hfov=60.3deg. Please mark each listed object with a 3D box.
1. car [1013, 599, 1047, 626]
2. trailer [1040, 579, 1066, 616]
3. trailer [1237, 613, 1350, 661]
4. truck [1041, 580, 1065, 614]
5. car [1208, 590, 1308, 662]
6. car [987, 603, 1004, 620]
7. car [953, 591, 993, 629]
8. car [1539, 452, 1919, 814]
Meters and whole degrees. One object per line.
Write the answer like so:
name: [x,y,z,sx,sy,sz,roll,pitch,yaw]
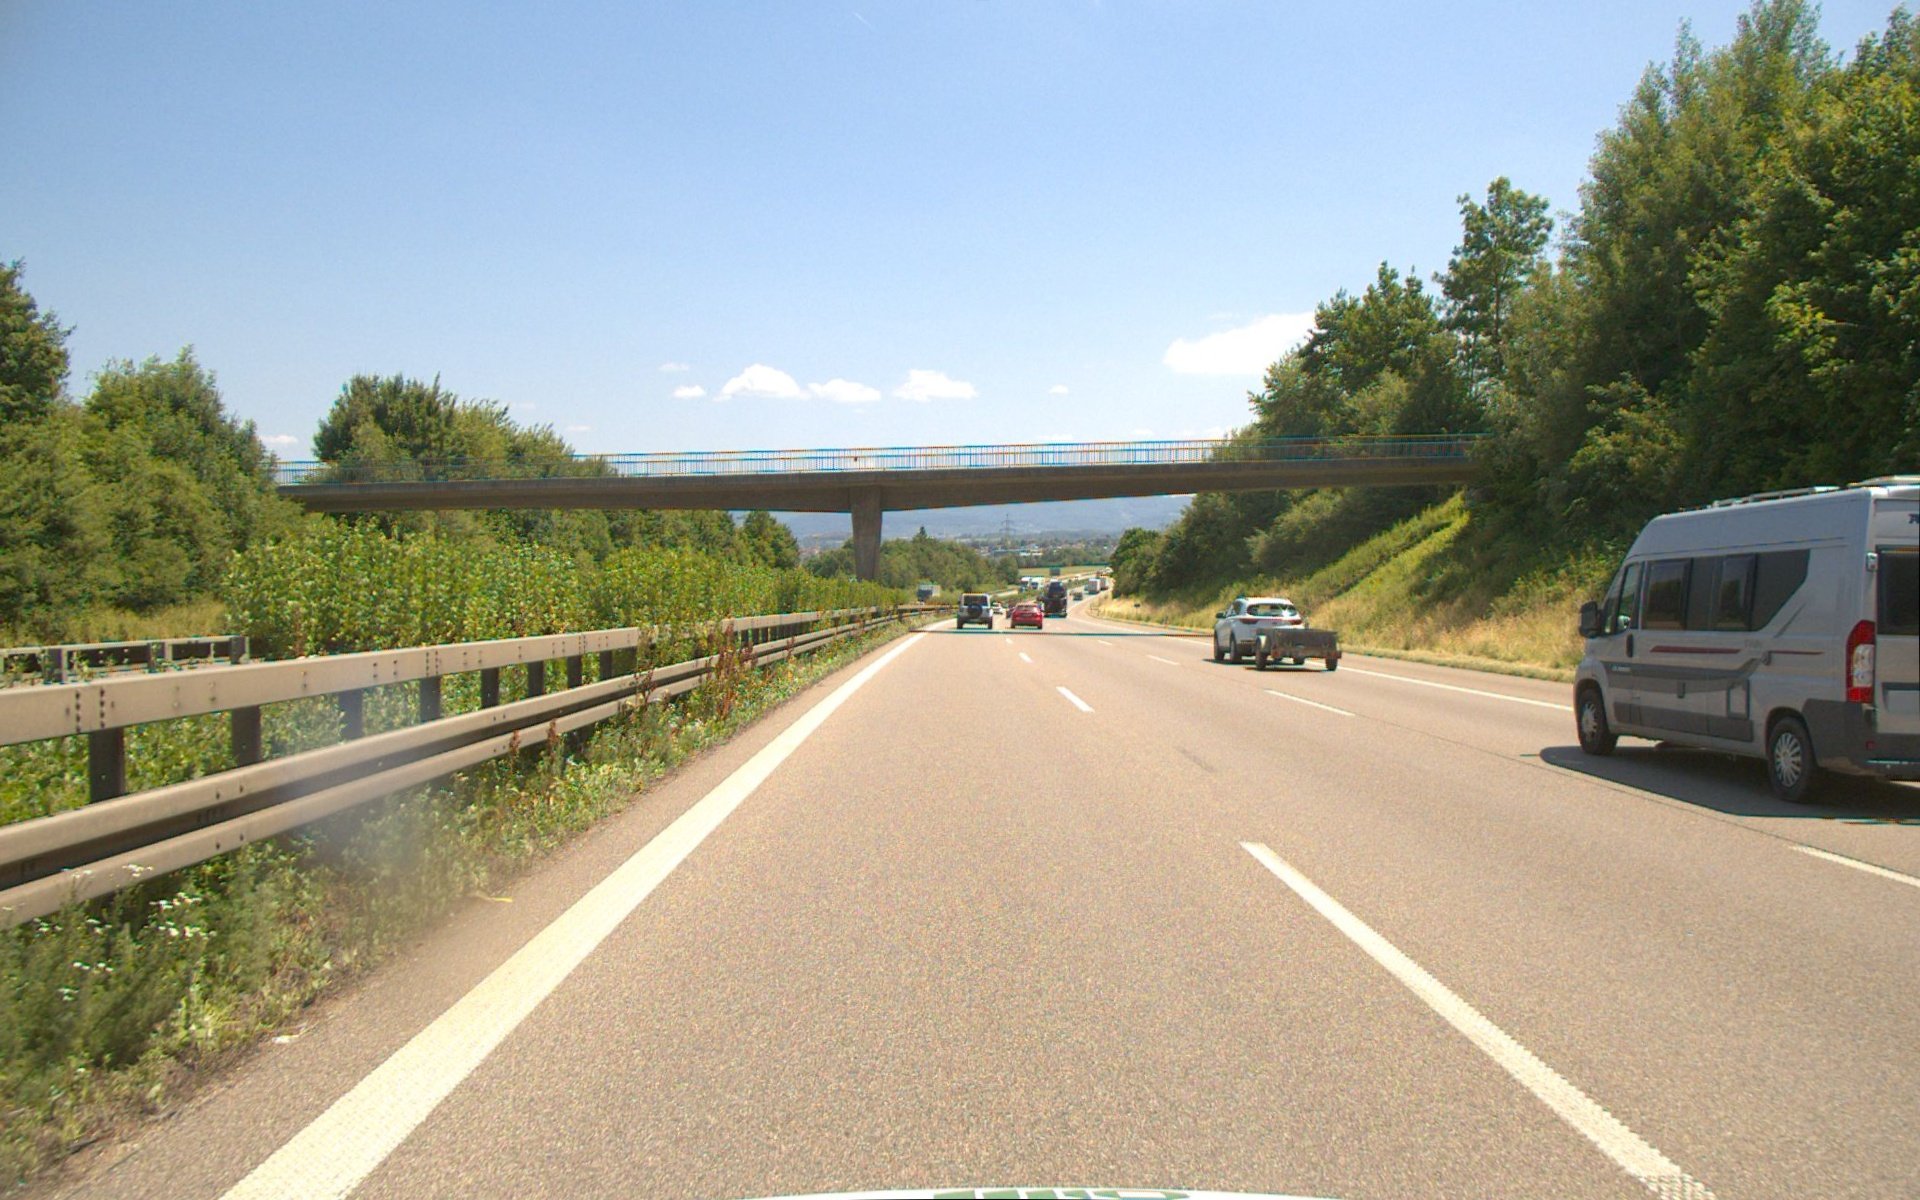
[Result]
car: [3.946,0.671,93.614,1.652,1.403,3.948,1,1,-2]
trailer: [10.844,-0.377,192.440,2.795,4.063,15.405,1,1,3]
trailer: [7.736,0.839,38.725,1.718,0.924,4.319,1,1,-1]
truck: [11.239,-0.402,200.119,2.696,3.920,6.647,1,1,3]
car: [7.688,0.631,43.091,1.745,1.679,4.403,1,1,-1]
car: [4.573,1.438,213.771,1.661,2.048,3.826,1,1,10]
car: [0.677,0.519,89.041,2.041,1.861,4.754,1,1,0]
car: [7.609,0.188,15.318,2.047,2.621,6.621,1,1,-1]
